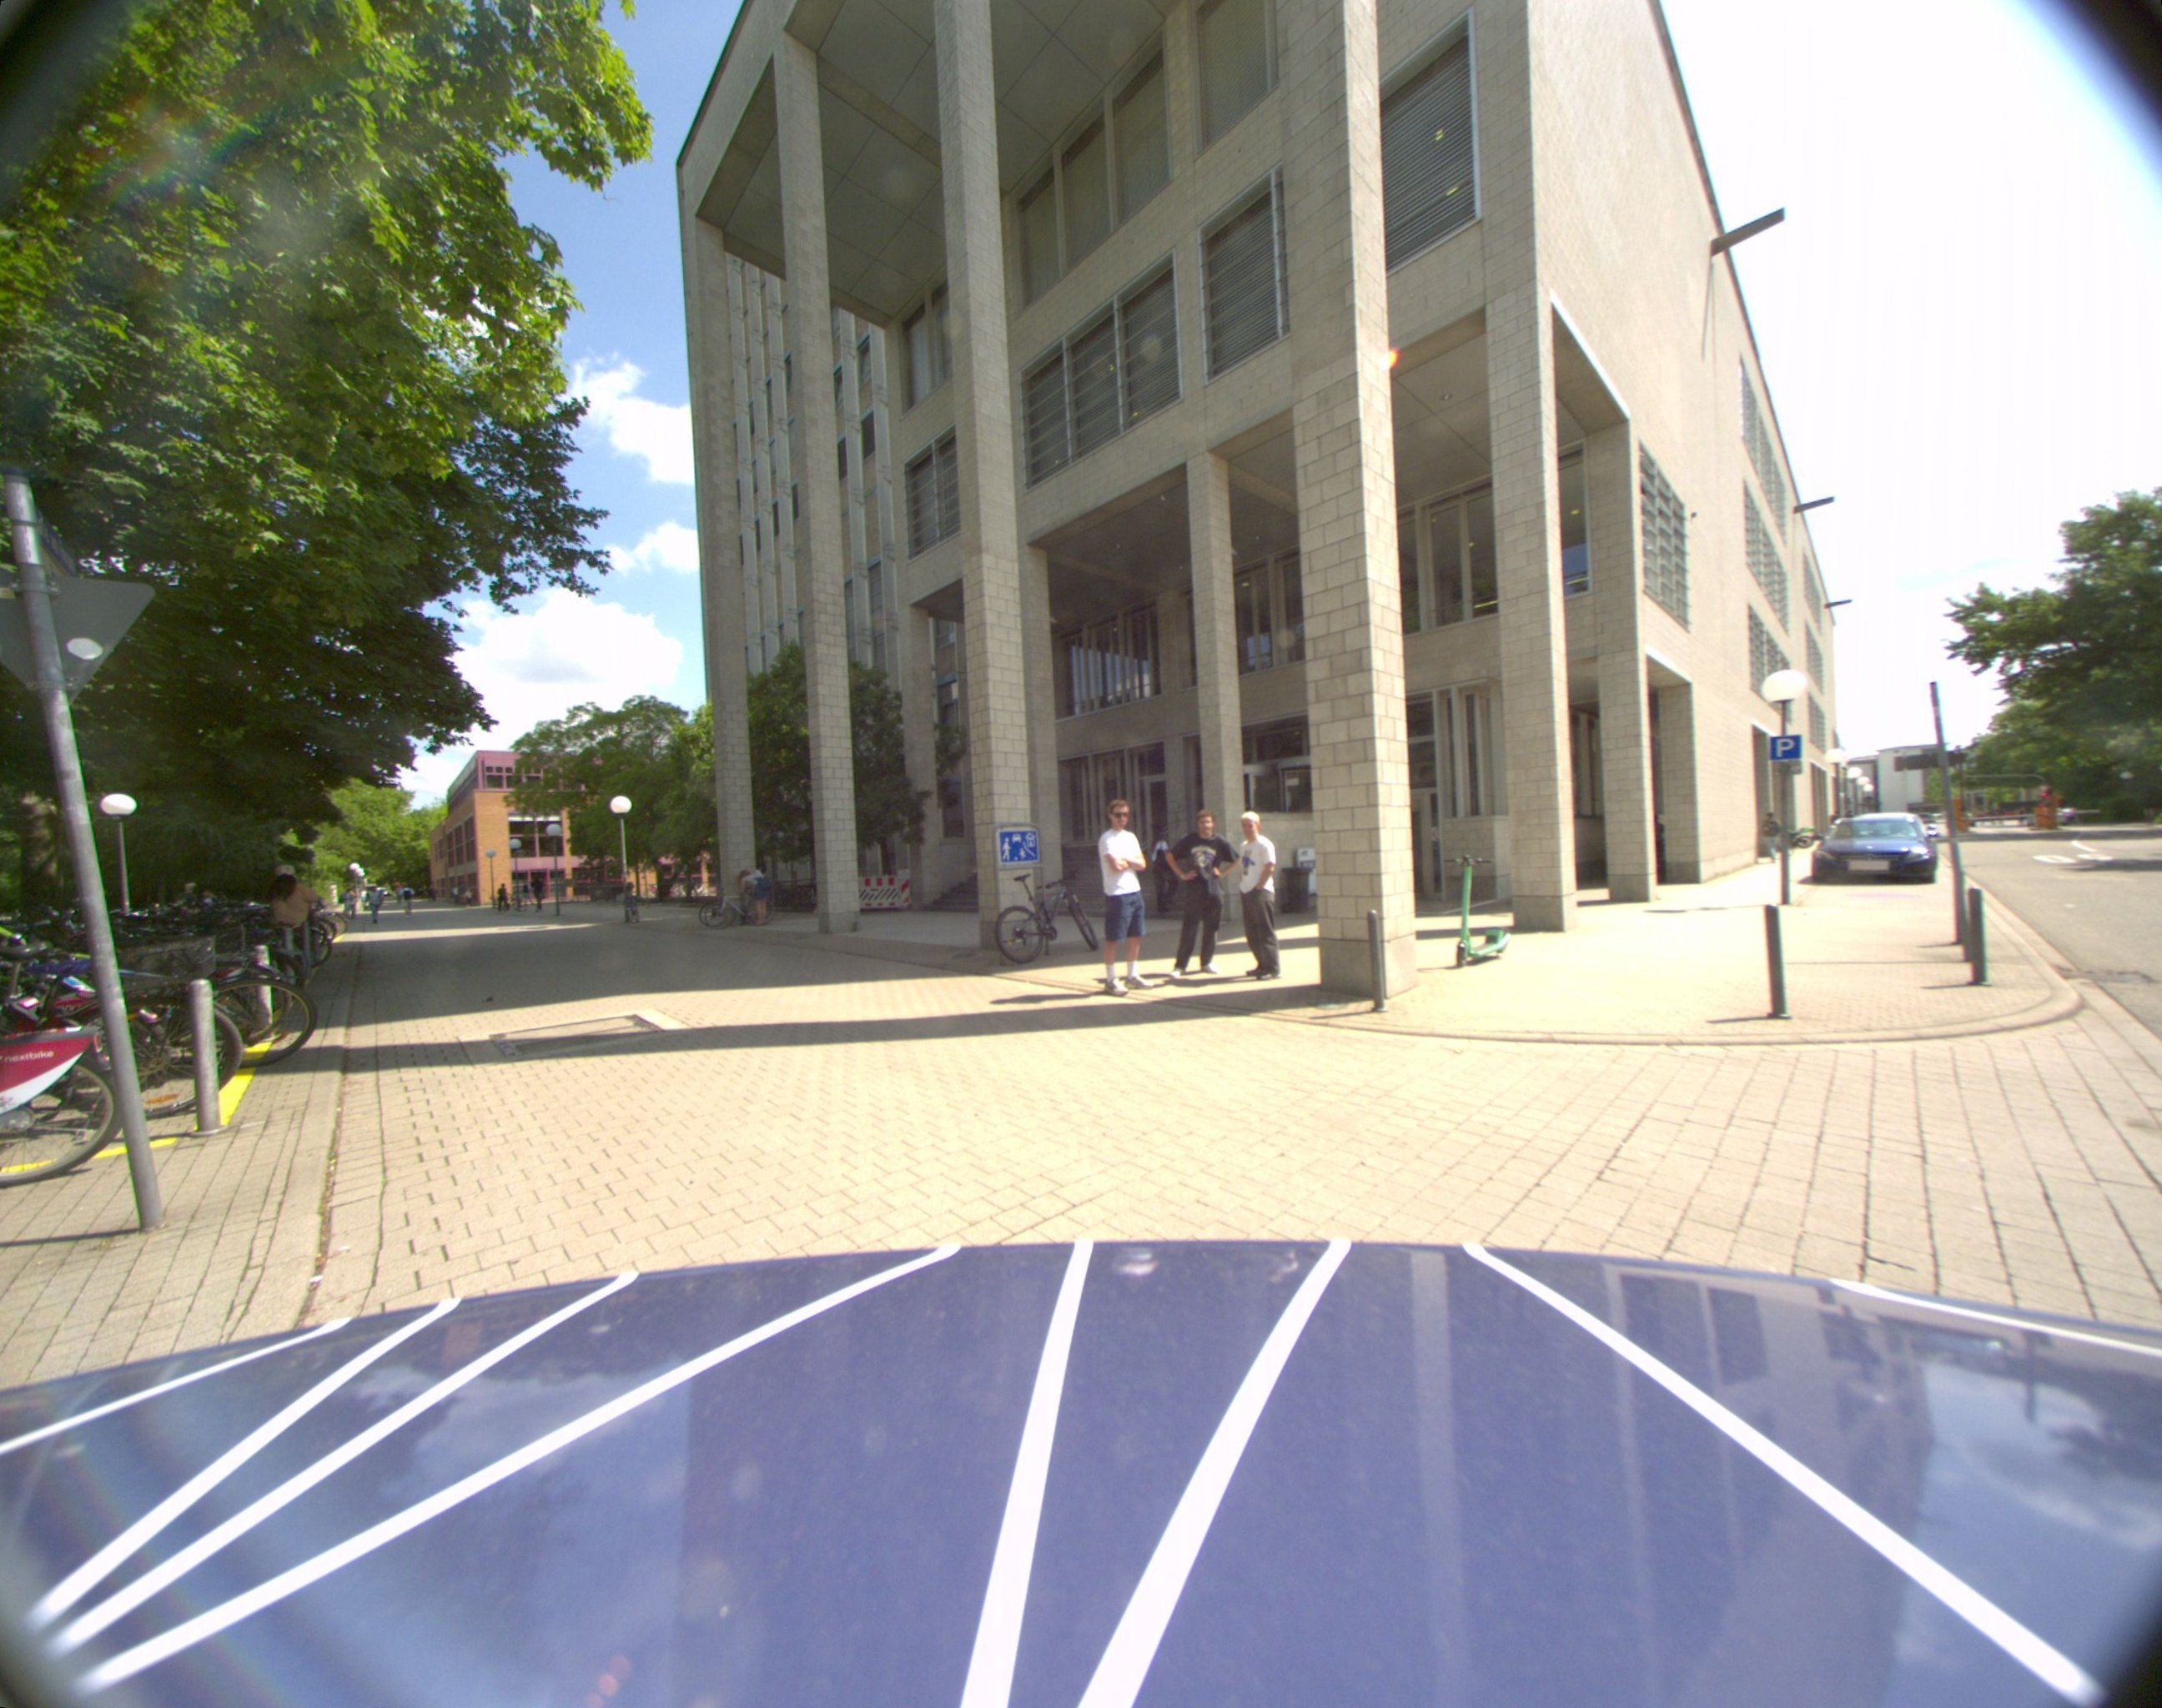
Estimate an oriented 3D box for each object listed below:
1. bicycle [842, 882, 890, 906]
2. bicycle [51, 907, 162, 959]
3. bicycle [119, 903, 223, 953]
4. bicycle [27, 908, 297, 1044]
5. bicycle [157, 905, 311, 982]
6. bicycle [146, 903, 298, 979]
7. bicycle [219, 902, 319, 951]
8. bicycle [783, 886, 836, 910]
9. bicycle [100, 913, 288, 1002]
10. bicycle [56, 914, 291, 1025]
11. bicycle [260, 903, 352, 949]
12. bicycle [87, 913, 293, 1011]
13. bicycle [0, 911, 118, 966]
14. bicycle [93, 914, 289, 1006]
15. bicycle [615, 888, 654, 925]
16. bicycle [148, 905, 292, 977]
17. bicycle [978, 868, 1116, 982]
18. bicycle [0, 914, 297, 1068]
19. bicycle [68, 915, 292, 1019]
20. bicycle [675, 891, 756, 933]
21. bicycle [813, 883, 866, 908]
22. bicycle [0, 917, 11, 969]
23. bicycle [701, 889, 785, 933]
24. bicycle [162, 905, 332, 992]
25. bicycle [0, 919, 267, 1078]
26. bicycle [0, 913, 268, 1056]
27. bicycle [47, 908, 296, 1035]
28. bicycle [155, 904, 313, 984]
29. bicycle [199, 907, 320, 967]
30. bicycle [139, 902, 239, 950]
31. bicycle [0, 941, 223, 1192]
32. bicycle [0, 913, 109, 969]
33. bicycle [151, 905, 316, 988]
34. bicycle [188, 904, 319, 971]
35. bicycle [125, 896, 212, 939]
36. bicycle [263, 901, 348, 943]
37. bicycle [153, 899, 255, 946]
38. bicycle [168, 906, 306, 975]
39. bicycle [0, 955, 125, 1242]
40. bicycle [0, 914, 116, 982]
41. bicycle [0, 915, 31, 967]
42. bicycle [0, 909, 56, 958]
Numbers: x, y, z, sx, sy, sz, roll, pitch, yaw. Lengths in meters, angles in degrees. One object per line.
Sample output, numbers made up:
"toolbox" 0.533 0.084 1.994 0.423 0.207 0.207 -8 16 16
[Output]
"bicycle" -7.412 1.366 26.142 1.984 0.755 0.645 -1 1 45
"bicycle" -23.111 1.870 18.044 1.688 1.077 0.478 -3 -1 -12
"bicycle" -22.655 1.835 18.938 1.688 1.077 0.478 -3 -1 -12
"bicycle" -9.492 1.208 7.965 1.700 1.144 0.626 -1 1 -41
"bicycle" -14.279 1.483 12.871 0.453 1.123 1.691 -5 -2 42
"bicycle" -14.805 1.476 13.155 0.453 1.123 1.691 -5 -2 42
"bicycle" -20.603 1.835 19.319 0.477 1.077 1.691 -5 -2 42
"bicycle" -9.050 1.451 25.301 1.984 0.755 0.645 -1 1 37
"bicycle" -12.548 1.434 10.827 0.500 1.041 1.691 -5 -2 42
"bicycle" -10.492 1.294 8.864 0.567 1.041 1.700 -5 -2 39
"bicycle" -21.101 1.942 20.715 0.527 1.077 1.691 -5 -2 42
"bicycle" -11.579 1.372 9.962 0.616 1.041 1.691 -5 -2 42
"bicycle" -23.103 1.900 17.196 1.688 1.077 0.478 -3 -1 -12
"bicycle" -12.124 1.410 10.432 0.616 1.041 1.691 -5 -2 42
"bicycle" -14.019 1.629 23.843 0.571 1.097 1.829 -2 -1 -45
"bicycle" -15.663 1.563 13.874 0.453 1.123 1.691 -5 -2 42
"bicycle" -0.402 0.868 9.905 1.833 1.235 0.530 -5 2 -44
"bicycle" -8.389 1.175 6.881 1.699 1.119 0.564 -1 1 -38
"bicycle" -11.069 1.348 9.431 1.699 1.041 0.616 -2 -2 -42
"bicycle" -9.070 1.425 18.906 1.778 0.894 0.447 -3 0 -25
"bicycle" -8.175 1.387 25.686 1.984 0.755 0.645 -1 1 37
"bicycle" -23.176 1.896 15.607 1.472 1.077 0.352 -3 -1 -15
"bicycle" -8.222 1.362 18.520 1.779 0.894 0.336 -4 1 -38
"bicycle" -12.635 1.400 11.570 0.453 1.123 1.691 -5 -2 42
"bicycle" -8.163 1.178 6.402 1.699 1.119 0.481 -1 1 -38
"bicycle" -9.148 1.201 7.317 1.699 1.119 0.626 -1 1 -38
"bicycle" -9.992 1.244 8.427 0.626 1.143 1.700 -5 -2 39
"bicycle" -13.846 1.440 12.479 0.453 1.123 1.691 -5 -2 42
"bicycle" -17.324 1.725 16.069 0.477 1.077 1.691 -5 -2 43
"bicycle" -22.754 1.820 19.405 1.688 1.077 0.478 -3 -1 -12
"bicycle" -5.581 1.107 3.908 0.560 1.135 1.493 0 1 44
"bicycle" -22.765 1.912 16.769 1.688 1.077 0.478 -3 -1 -12
"bicycle" -13.367 1.428 12.040 0.453 1.123 1.691 -5 -2 42
"bicycle" -16.143 1.604 14.866 0.477 1.123 1.691 -5 -2 42
"bicycle" -25.662 1.769 21.380 1.688 1.077 0.478 -4 -1 -7
"bicycle" -22.530 1.971 22.099 0.527 1.077 1.691 -5 -2 42
"bicycle" -23.211 1.797 20.139 1.690 1.077 0.478 -3 -2 -25
"bicycle" -15.897 1.601 14.362 0.453 1.123 1.691 -5 -2 42
"bicycle" -5.137 1.106 3.057 0.560 1.135 1.492 0 3 44
"bicycle" -18.859 1.707 13.862 0.352 1.077 1.474 -2 1 43
"bicycle" -23.278 1.883 15.991 1.472 1.077 0.352 -3 -1 -15
"bicycle" -25.251 1.893 17.794 1.687 1.077 0.479 -4 -1 -4
